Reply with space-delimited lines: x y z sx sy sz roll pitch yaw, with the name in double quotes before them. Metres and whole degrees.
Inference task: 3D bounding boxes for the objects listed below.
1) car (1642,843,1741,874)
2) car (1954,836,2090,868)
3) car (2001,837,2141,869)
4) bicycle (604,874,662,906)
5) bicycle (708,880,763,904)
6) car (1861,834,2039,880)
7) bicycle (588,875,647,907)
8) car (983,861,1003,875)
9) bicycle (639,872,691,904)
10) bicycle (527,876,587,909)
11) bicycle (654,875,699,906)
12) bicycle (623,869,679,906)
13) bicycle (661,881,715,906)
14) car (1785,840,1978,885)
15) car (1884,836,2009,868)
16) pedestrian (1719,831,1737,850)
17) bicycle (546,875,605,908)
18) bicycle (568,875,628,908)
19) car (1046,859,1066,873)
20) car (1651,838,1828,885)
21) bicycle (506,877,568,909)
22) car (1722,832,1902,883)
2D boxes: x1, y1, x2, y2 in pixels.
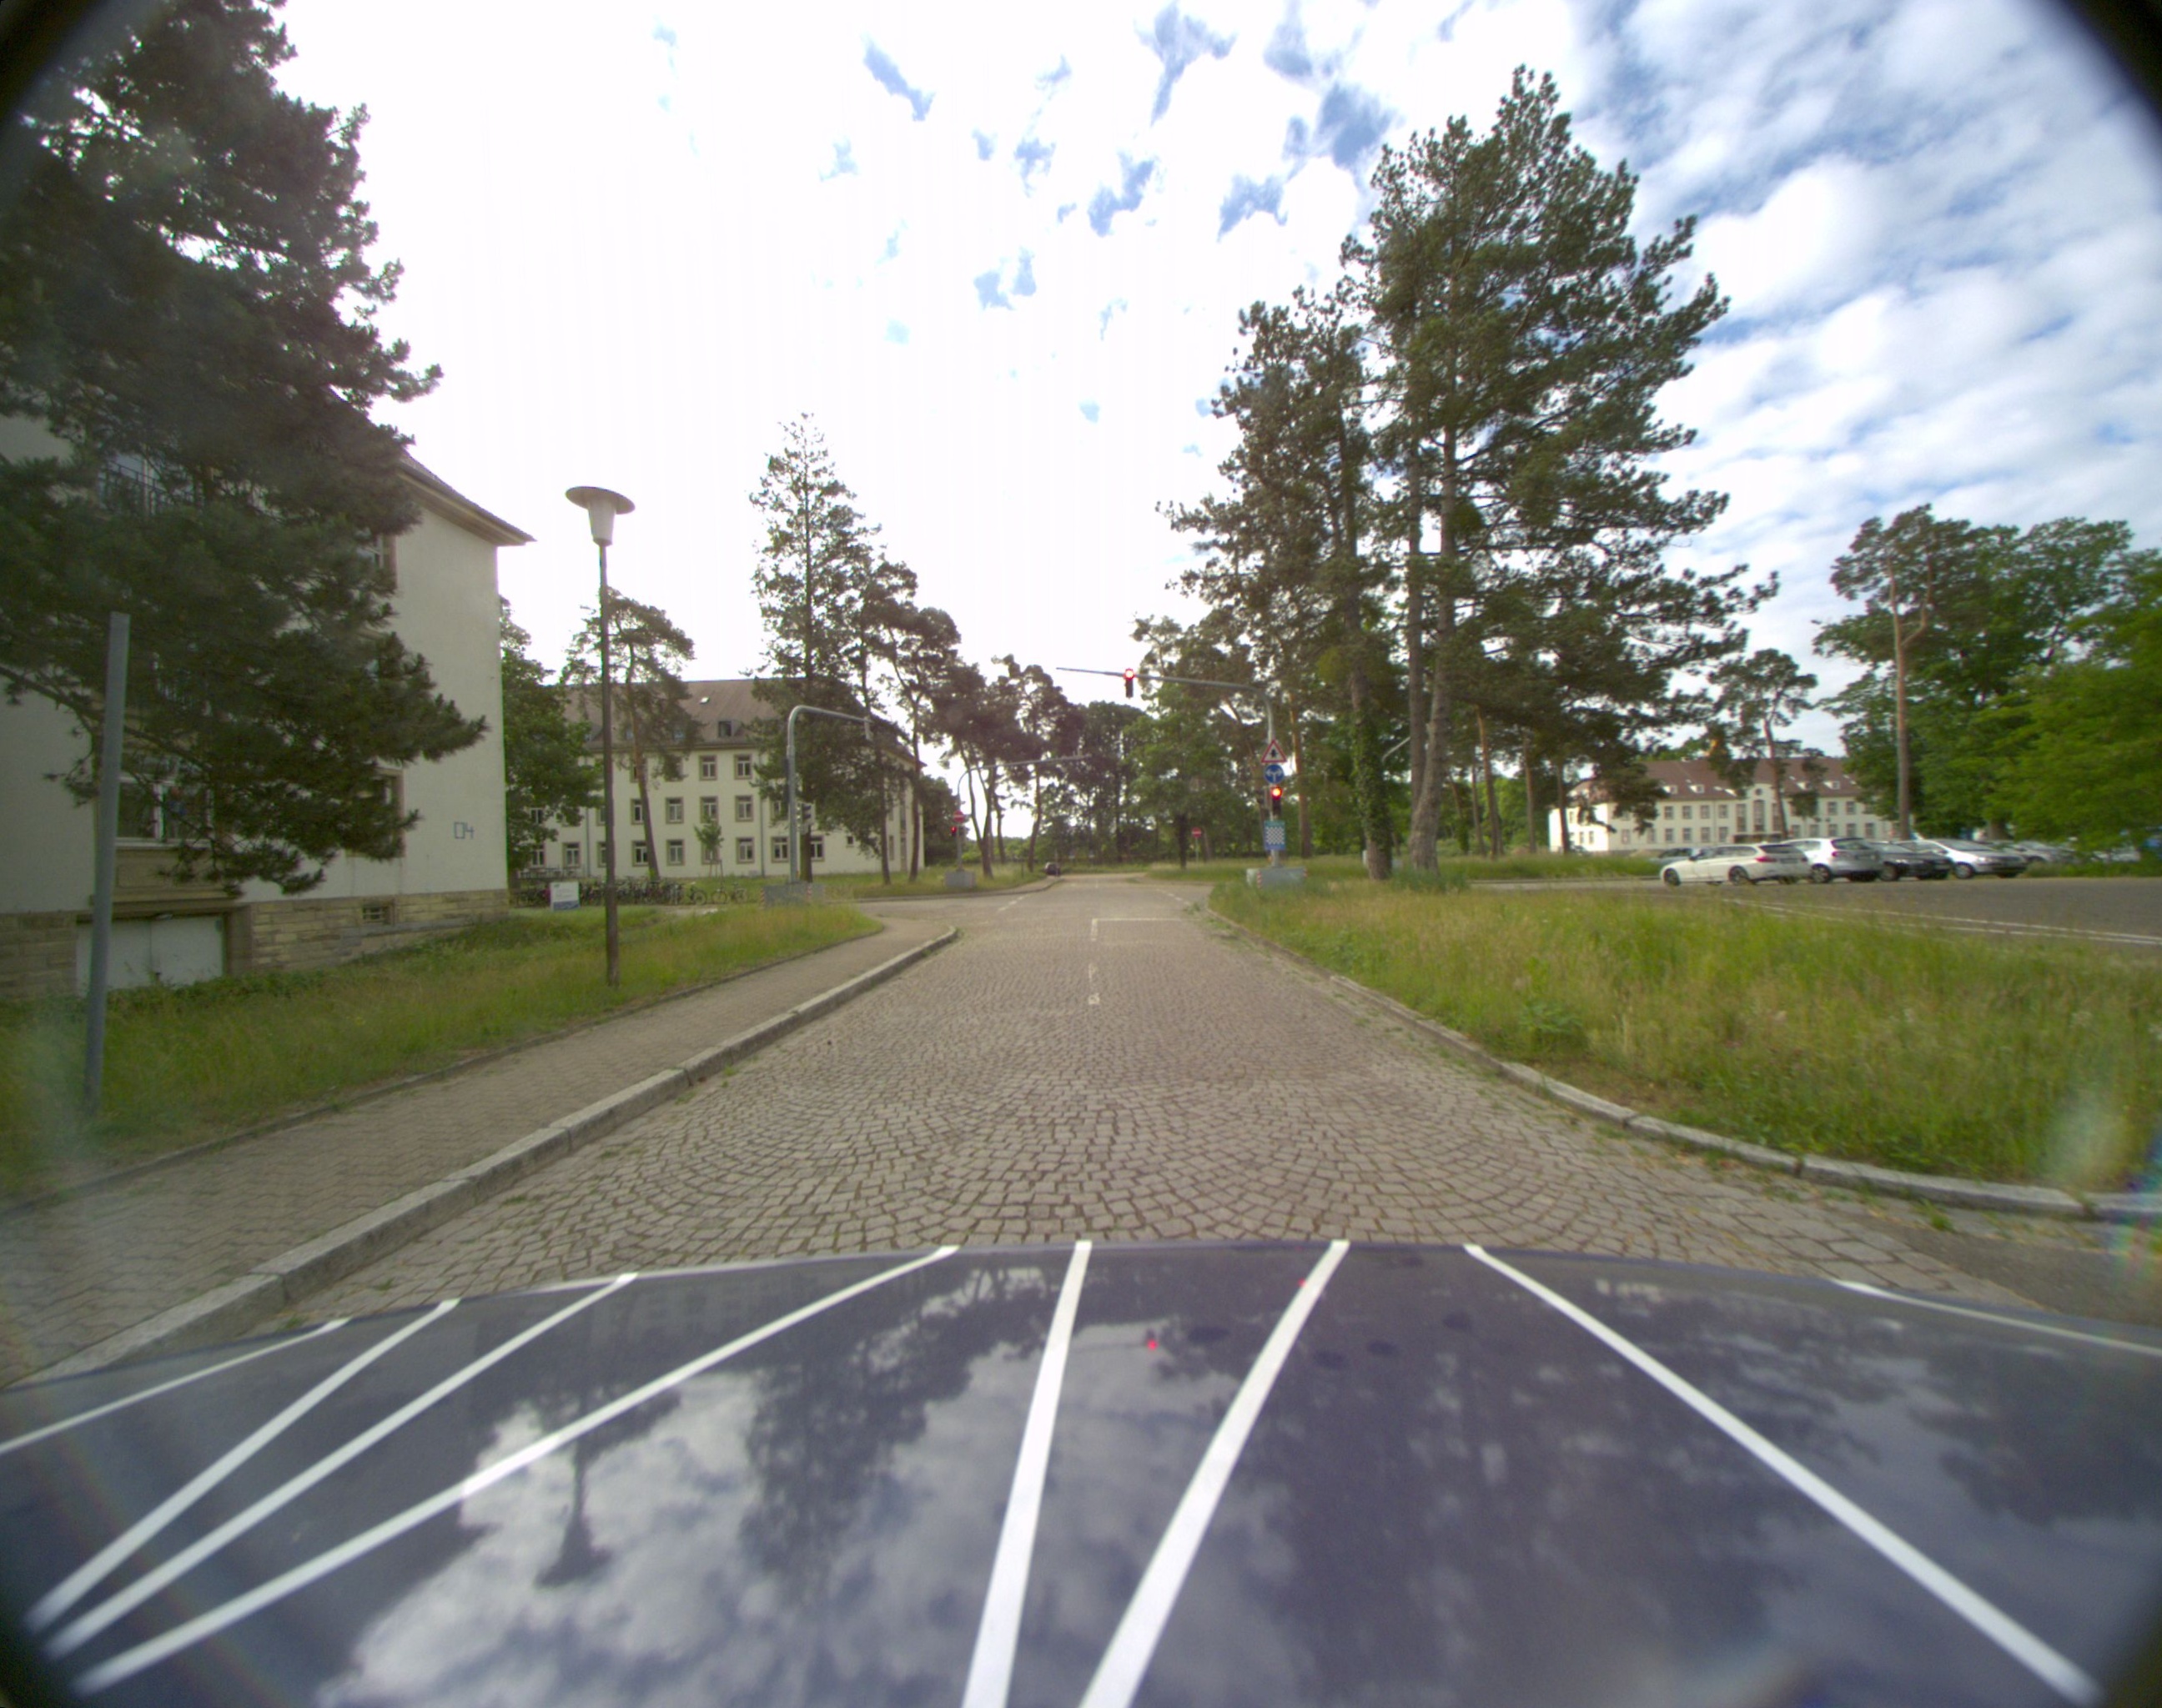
"car" 30.155 0.214 37.691 1.795 1.410 4.001 -2 0 3
"car" 45.541 -0.103 36.915 1.795 1.427 3.936 -2 0 2
"car" 48.497 -0.051 37.349 1.795 1.440 3.936 -2 0 2
"bicycle" -21.020 1.674 35.733 0.950 1.363 2.812 -2 0 1
"bicycle" -15.287 1.670 33.663 1.977 0.990 0.903 -2 0 0
"car" 30.793 0.105 27.127 1.680 1.447 3.986 -2 0 -3
"bicycle" -21.563 1.686 35.413 0.950 1.363 2.812 -2 0 1
"car" -10.507 1.694 91.342 1.771 1.524 3.695 -2 0 3
"bicycle" -19.238 1.530 35.228 0.873 1.359 2.628 -2 0 1
"bicycle" -24.262 1.753 35.263 0.950 1.363 2.576 -2 0 0
"bicycle" -18.628 1.677 35.028 0.873 1.298 2.120 -2 0 1
"bicycle" -20.098 1.542 35.589 0.950 1.574 2.812 -2 0 1
"bicycle" -17.378 1.747 33.619 1.976 0.990 0.730 -2 0 6
"car" 28.123 0.289 26.967 1.884 1.414 4.634 -2 0 -1
"car" 42.670 -0.080 37.601 1.795 1.467 3.937 -2 0 3
"pedestrian" 73.964 -1.525 86.909 1.055 2.165 1.185 -2 0 2
"bicycle" -23.423 1.722 35.264 0.950 1.363 2.576 -2 0 0
"bicycle" -22.456 1.718 35.397 0.950 1.363 2.812 -2 0 1
"car" -2.902 1.435 90.446 1.998 1.524 4.001 -2 0 3
"car" 22.813 0.341 26.637 1.912 1.430 4.823 -2 -3 -1
"bicycle" -25.103 1.780 35.111 0.950 1.363 2.576 -2 0 0
"car" 25.417 0.179 26.693 1.846 1.580 4.488 -2 -2 -2
